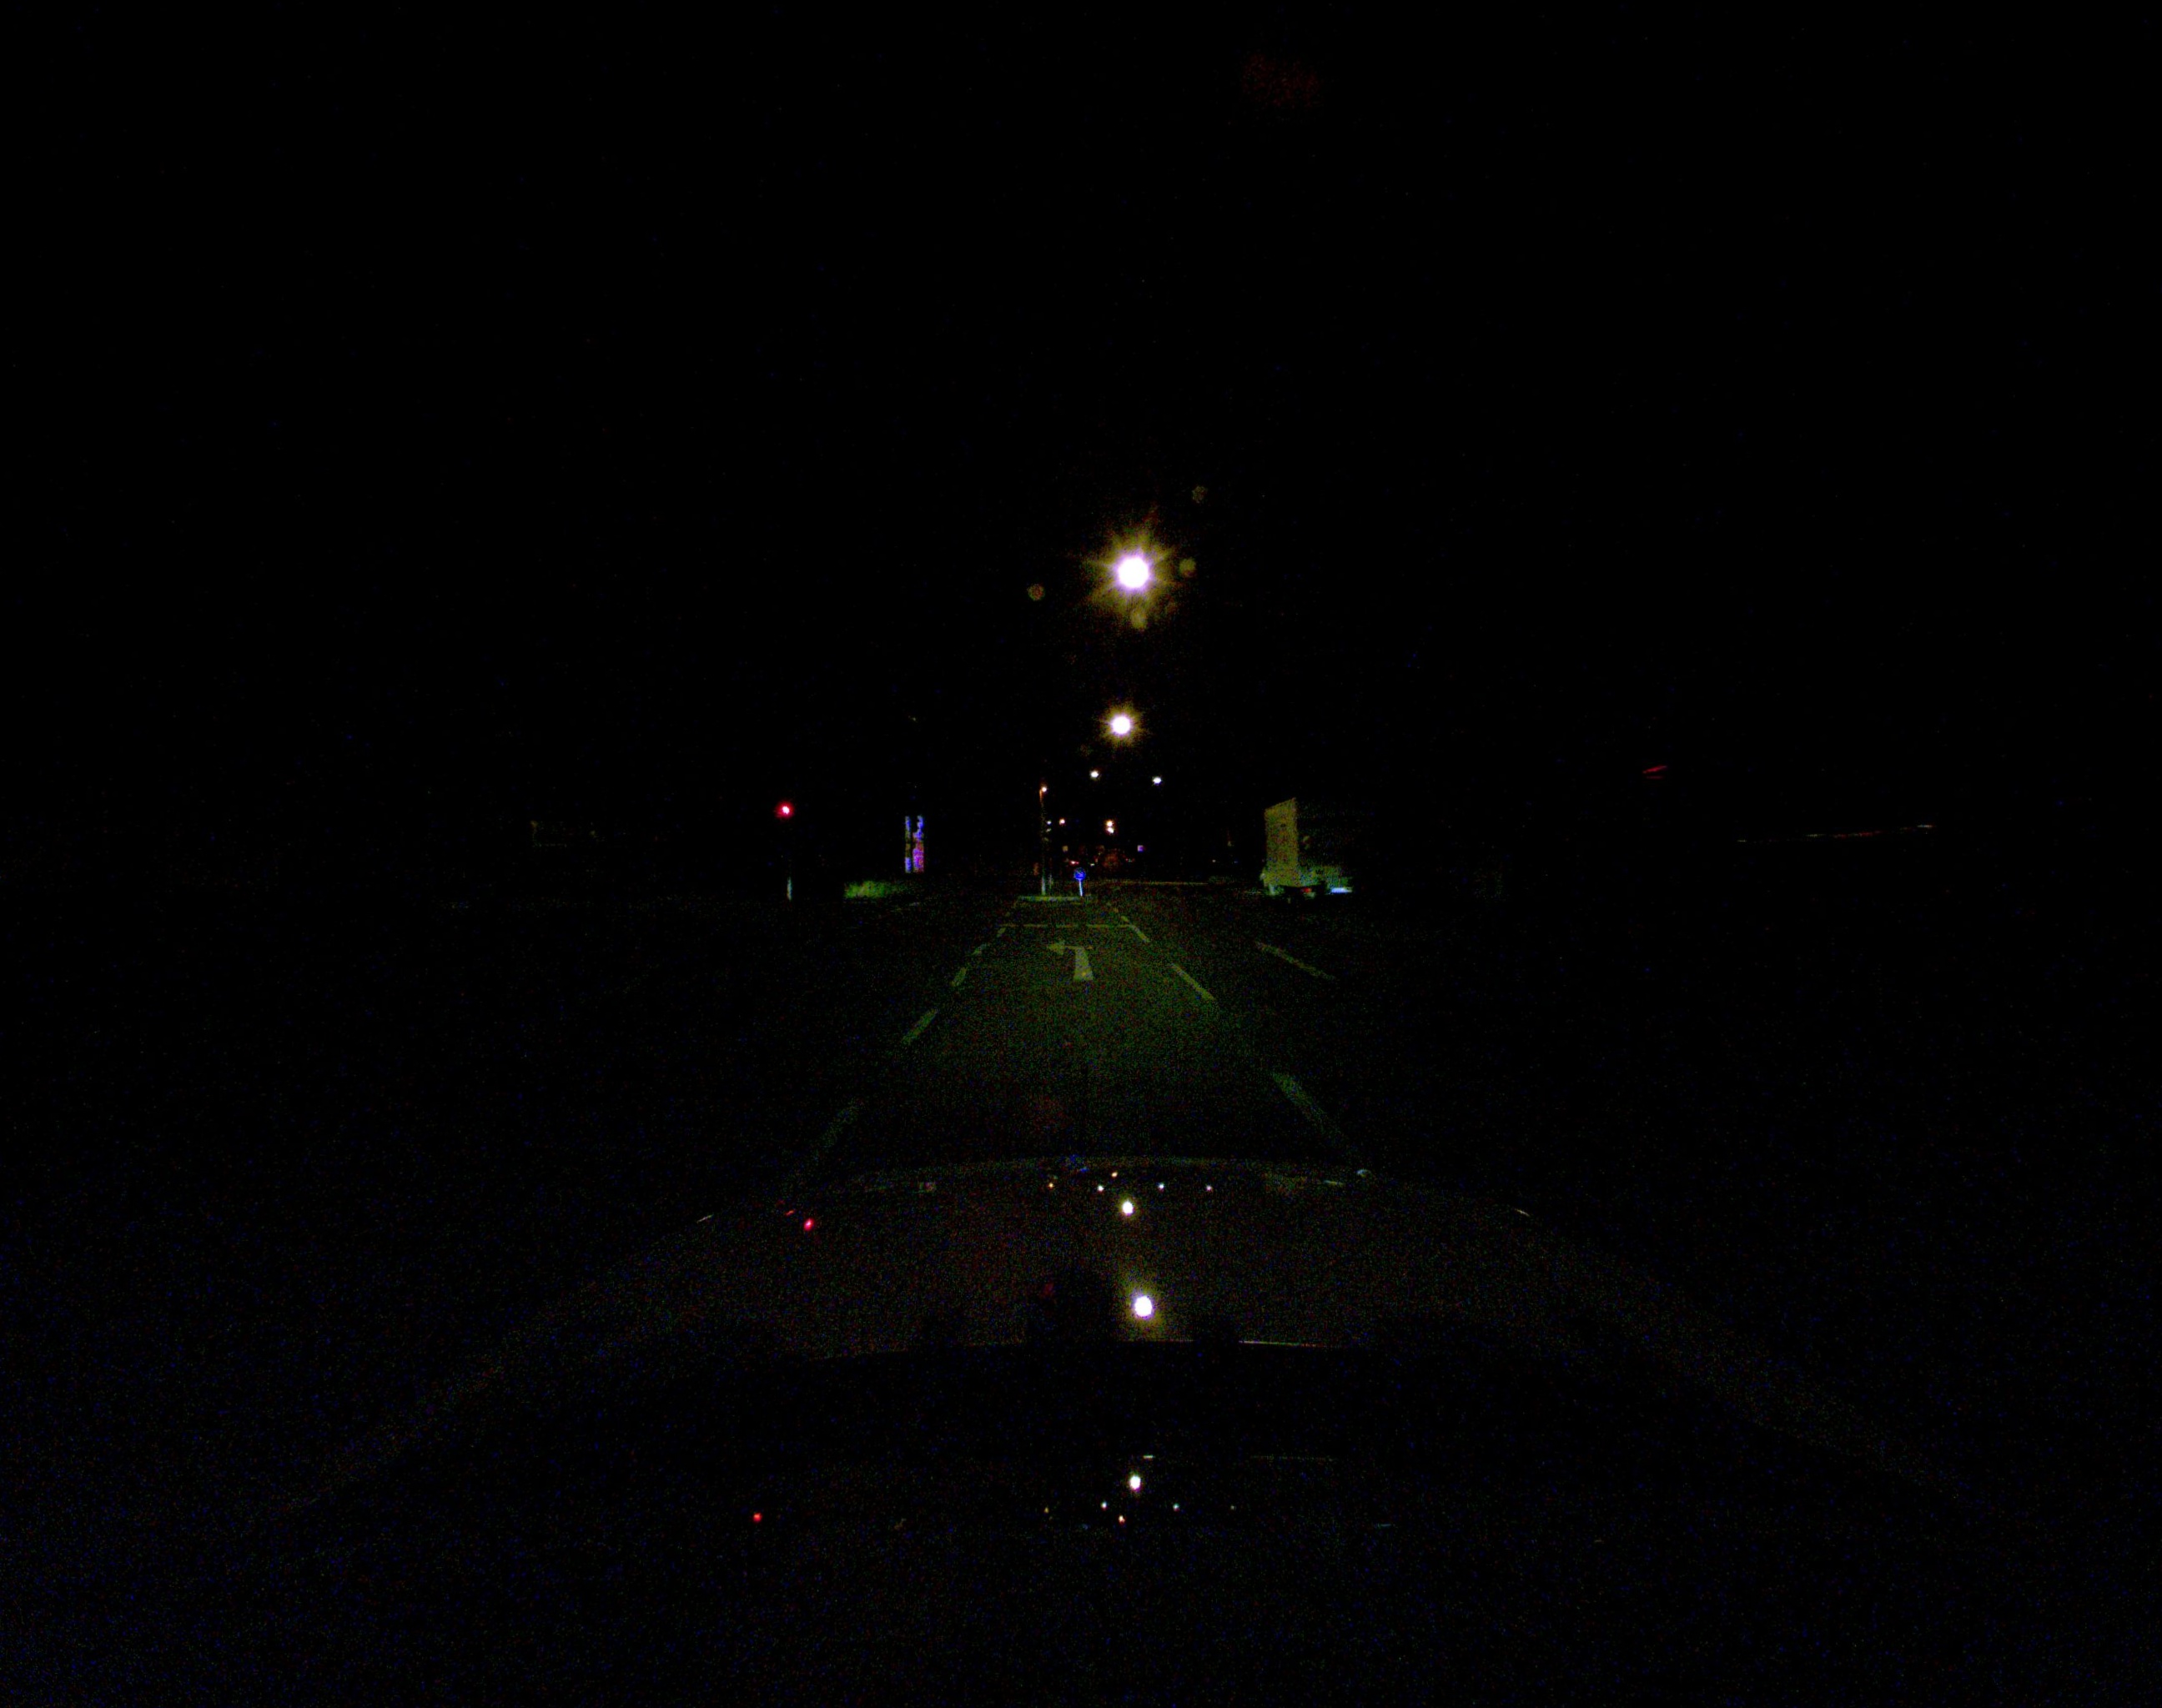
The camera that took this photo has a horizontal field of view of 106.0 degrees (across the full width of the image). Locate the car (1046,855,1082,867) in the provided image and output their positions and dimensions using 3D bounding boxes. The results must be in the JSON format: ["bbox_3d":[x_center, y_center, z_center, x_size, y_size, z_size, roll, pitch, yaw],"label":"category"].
[{"bbox_3d":[-2.286,0.903,109.131,4.454,1.557,2.013,0,0,36],"label":"car"}]

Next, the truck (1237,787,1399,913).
[{"bbox_3d":[6.616,-0.077,23.954,2.754,3.044,7.038,-2,-1,1],"label":"truck"}]

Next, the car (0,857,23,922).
[{"bbox_3d":[-25.730,0.742,16.853,4.303,1.430,1.715,2,0,-31],"label":"car"}]

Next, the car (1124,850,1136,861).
[{"bbox_3d":[7.947,0.290,132.467,1.986,1.769,4.002,0,0,2],"label":"car"}]

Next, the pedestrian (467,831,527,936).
[{"bbox_3d":[-10.321,0.511,14.397,0.684,1.792,0.526,1,-1,20],"label":"pedestrian"}]

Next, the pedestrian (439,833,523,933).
[{"bbox_3d":[-11.066,0.520,15.043,0.957,1.769,0.730,1,-1,5],"label":"pedestrian"}]
